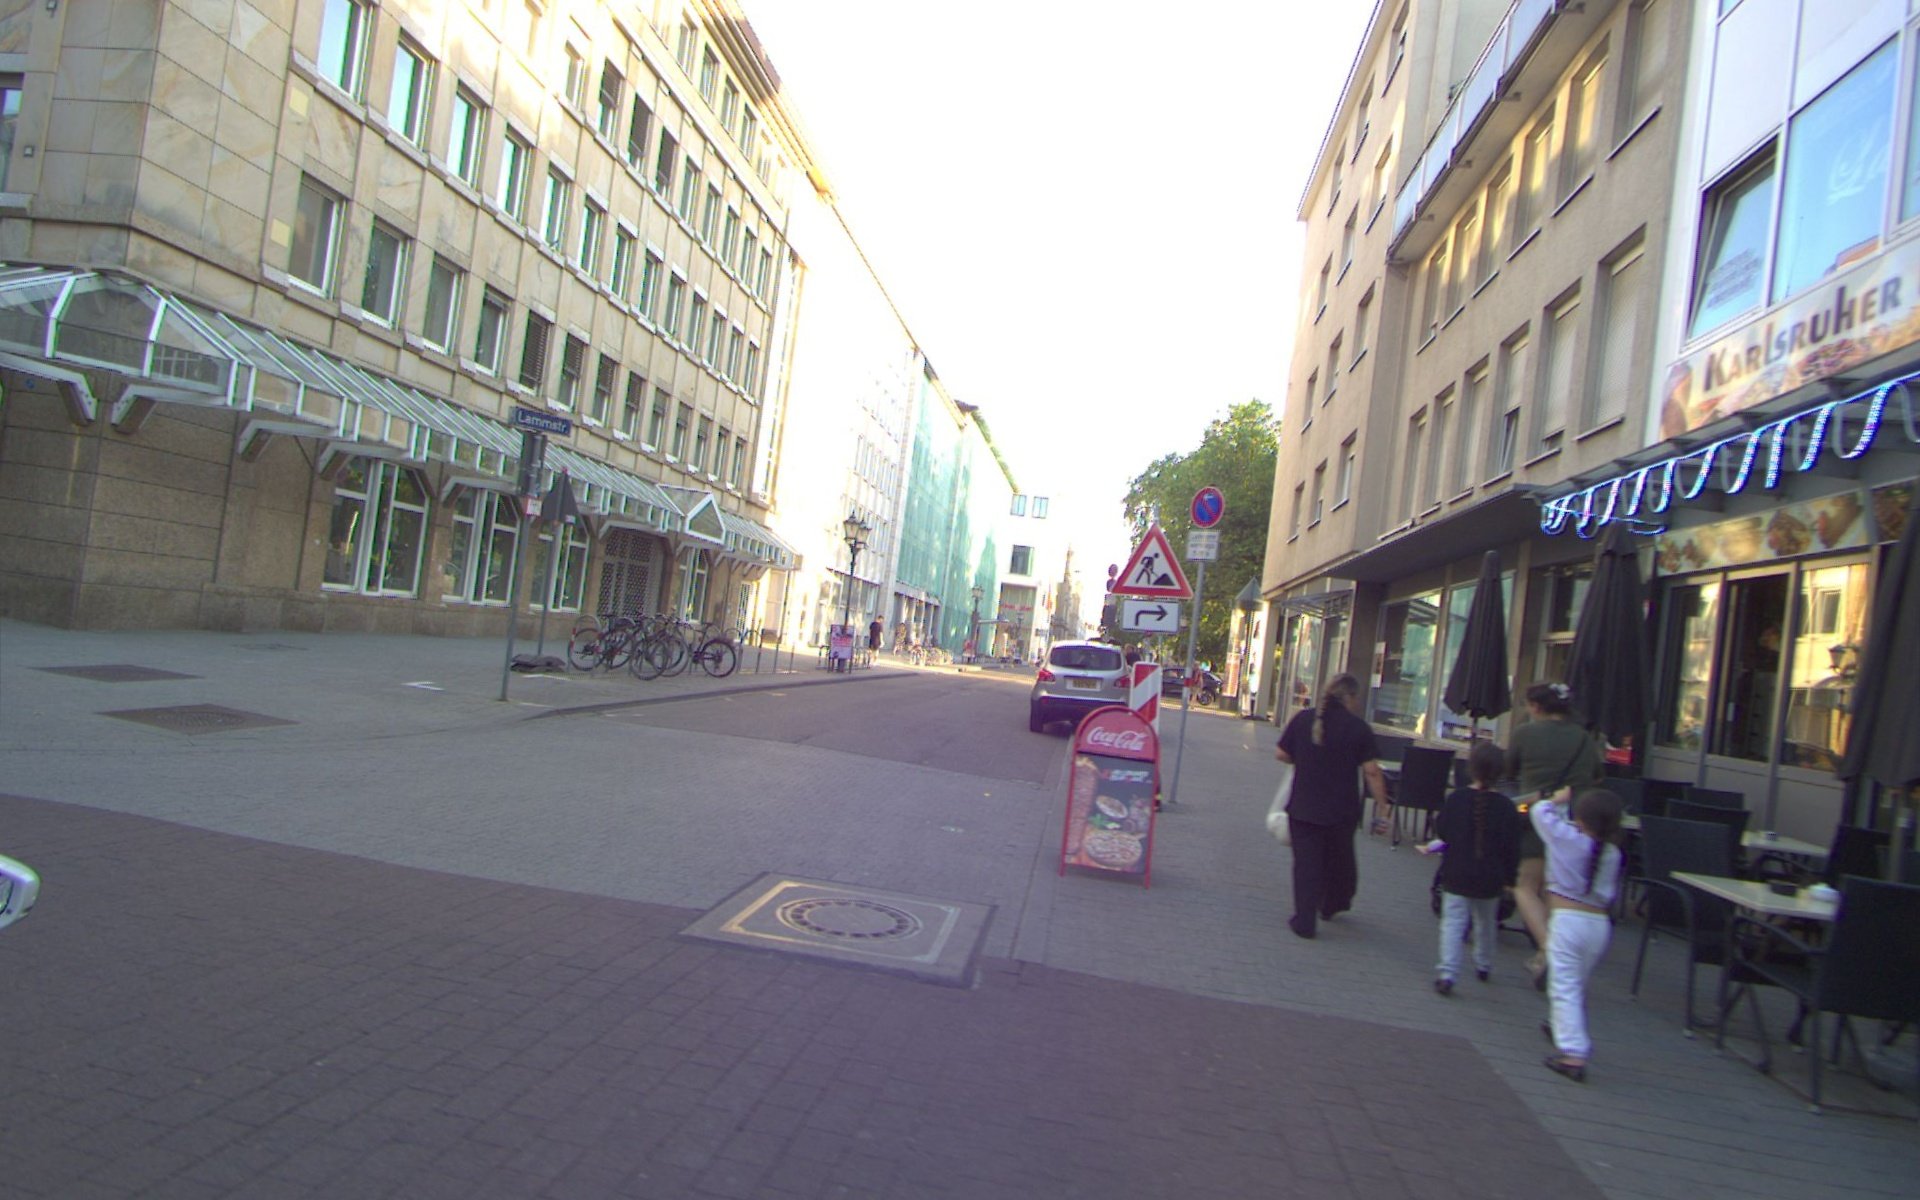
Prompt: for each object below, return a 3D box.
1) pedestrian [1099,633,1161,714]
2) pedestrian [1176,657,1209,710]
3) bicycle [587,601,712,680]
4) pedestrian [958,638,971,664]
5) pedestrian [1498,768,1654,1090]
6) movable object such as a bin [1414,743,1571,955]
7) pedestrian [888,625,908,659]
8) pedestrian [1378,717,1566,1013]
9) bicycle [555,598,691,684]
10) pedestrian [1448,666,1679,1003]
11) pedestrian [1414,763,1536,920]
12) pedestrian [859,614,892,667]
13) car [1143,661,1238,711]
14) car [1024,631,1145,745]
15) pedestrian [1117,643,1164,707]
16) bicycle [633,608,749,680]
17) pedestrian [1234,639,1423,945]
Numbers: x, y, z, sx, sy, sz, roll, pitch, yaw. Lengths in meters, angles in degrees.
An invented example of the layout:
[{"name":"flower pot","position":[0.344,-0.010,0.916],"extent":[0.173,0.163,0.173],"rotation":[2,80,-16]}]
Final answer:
[{"name":"pedestrian","position":[4.510,1.948,26.775],"extent":[1.201,1.960,0.890],"rotation":[8,-1,-7]},{"name":"pedestrian","position":[8.257,2.953,35.714],"extent":[0.924,1.724,0.892],"rotation":[7,-1,11]},{"name":"bicycle","position":[-5.381,0.705,17.455],"extent":[1.912,1.063,0.545],"rotation":[9,-1,11]},{"name":"pedestrian","position":[0.219,2.631,51.921],"extent":[0.441,1.268,0.471],"rotation":[7,-1,9]},{"name":"pedestrian","position":[2.525,1.300,4.127],"extent":[0.404,1.137,0.472],"rotation":[7,-1,34]},{"name":"movable object such as a bin","position":[3.191,1.460,6.098],"extent":[0.577,1.049,0.800],"rotation":[7,-1,16]},{"name":"pedestrian","position":[-3.002,2.045,48.968],"extent":[0.649,1.591,0.730],"rotation":[7,-1,9]},{"name":"pedestrian","position":[2.559,1.267,5.021],"extent":[0.654,1.261,0.513],"rotation":[7,-1,34]},{"name":"bicycle","position":[-5.399,0.655,16.134],"extent":[1.912,1.063,0.545],"rotation":[9,-1,9]},{"name":"pedestrian","position":[3.168,1.181,5.358],"extent":[0.779,1.553,0.621],"rotation":[7,-1,19]},{"name":"pedestrian","position":[3.175,1.471,6.241],"extent":[0.502,0.801,0.550],"rotation":[7,-1,17]},{"name":"pedestrian","position":[-2.971,1.423,35.419],"extent":[0.758,1.752,0.916],"rotation":[7,-1,9]},{"name":"car","position":[10.252,3.796,44.897],"extent":[3.898,1.635,1.854],"rotation":[7,-1,12]},{"name":"car","position":[2.279,1.515,18.278],"extent":[1.771,1.608,3.944],"rotation":[7,-2,8]},{"name":"pedestrian","position":[5.266,2.195,29.324],"extent":[0.876,1.724,0.941],"rotation":[7,-1,33]},{"name":"bicycle","position":[-5.014,0.819,18.772],"extent":[1.912,1.040,0.514],"rotation":[8,-1,7]},{"name":"pedestrian","position":[2.145,1.063,5.828],"extent":[0.712,1.548,0.716],"rotation":[7,-1,34]}]
